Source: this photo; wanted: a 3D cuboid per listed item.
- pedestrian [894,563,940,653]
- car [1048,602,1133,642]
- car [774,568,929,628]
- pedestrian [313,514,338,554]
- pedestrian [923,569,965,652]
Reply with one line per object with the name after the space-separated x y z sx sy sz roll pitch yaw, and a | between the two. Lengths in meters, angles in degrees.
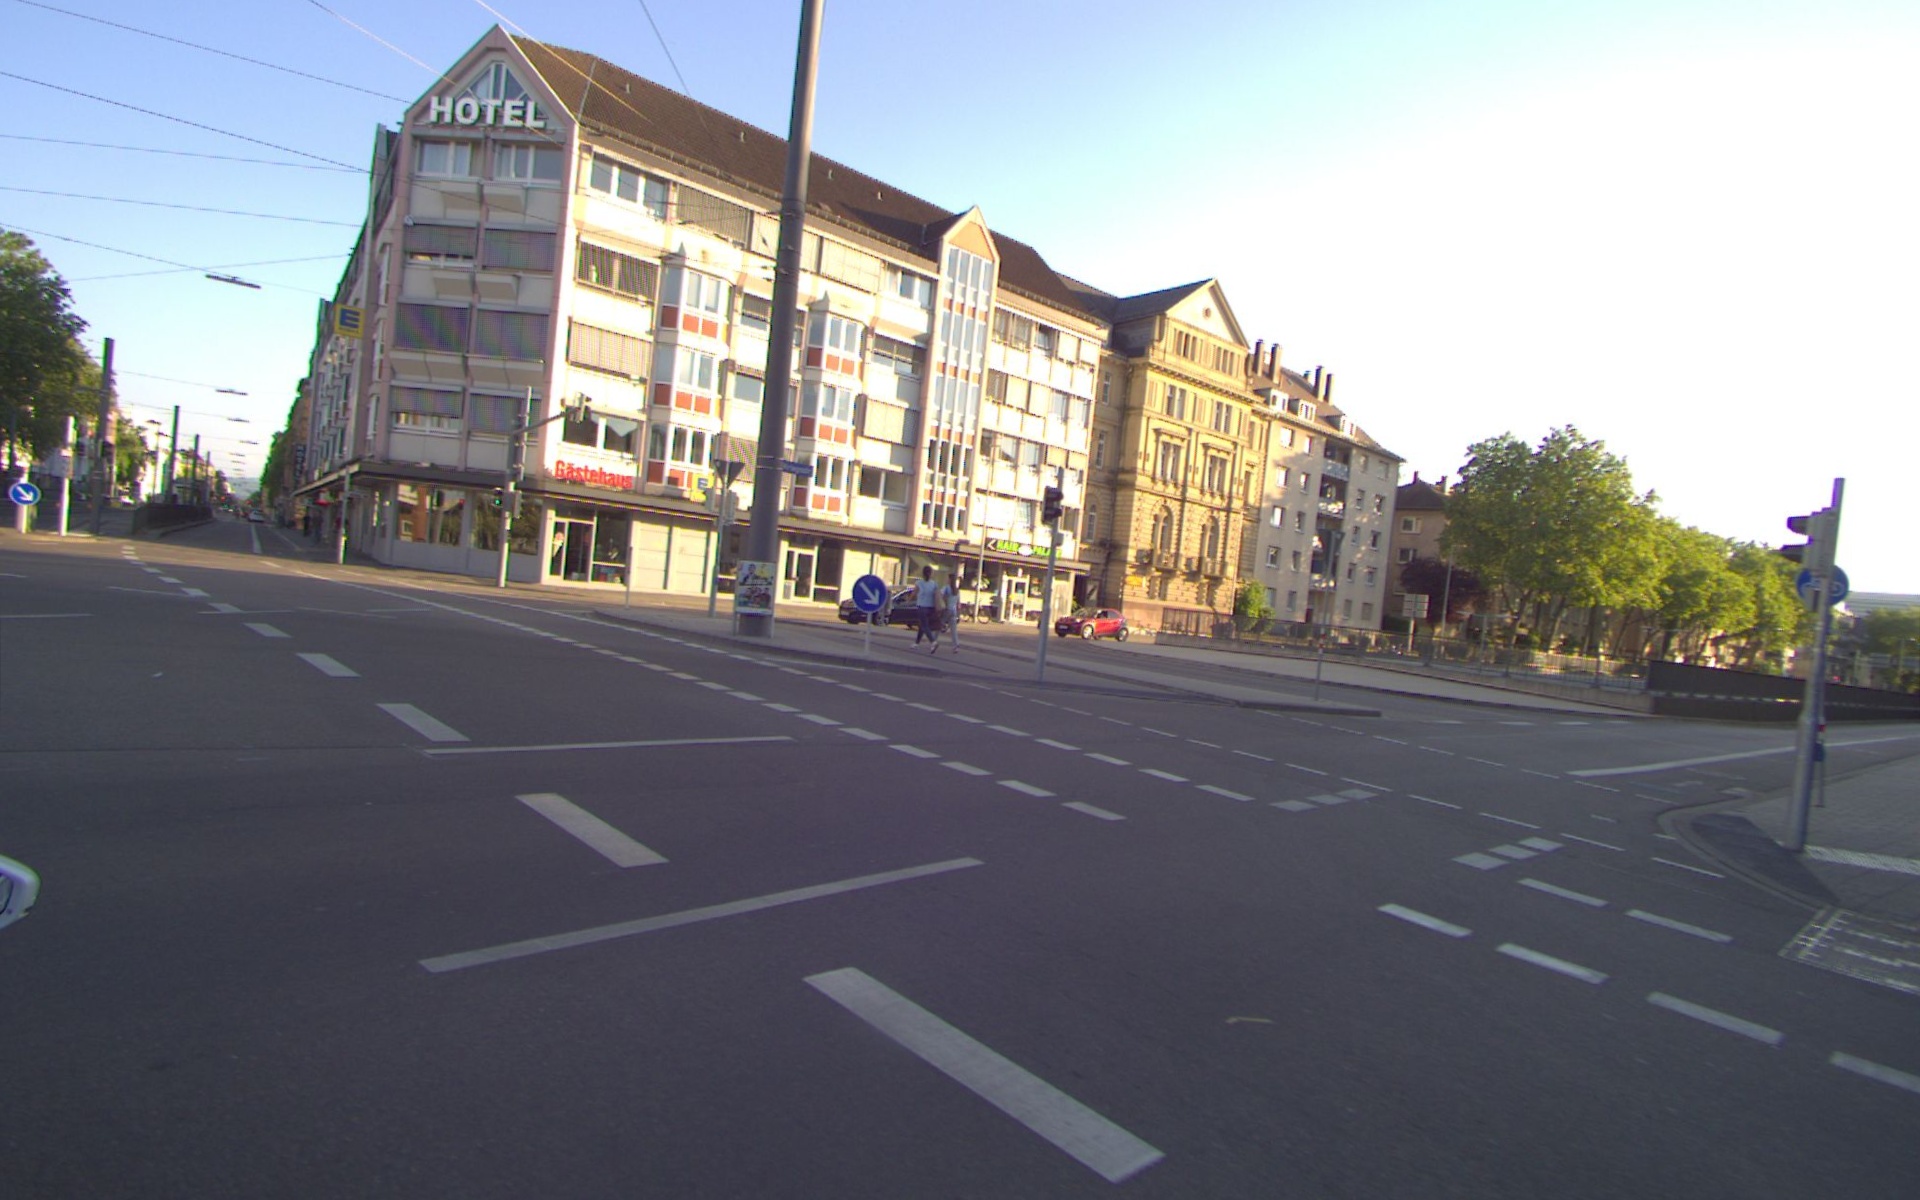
-0.841 0.147 19.864 0.714 1.671 0.771 6 2 -1 | pedestrian
6.008 1.007 46.039 3.869 1.440 1.629 6 1 -43 | car
-3.571 -0.037 33.285 4.563 1.574 2.205 5 -2 -32 | car
-27.723 -2.887 43.951 0.702 1.569 0.896 6 4 -39 | pedestrian
-0.327 0.214 20.777 0.692 1.603 0.825 6 2 -1 | pedestrian
